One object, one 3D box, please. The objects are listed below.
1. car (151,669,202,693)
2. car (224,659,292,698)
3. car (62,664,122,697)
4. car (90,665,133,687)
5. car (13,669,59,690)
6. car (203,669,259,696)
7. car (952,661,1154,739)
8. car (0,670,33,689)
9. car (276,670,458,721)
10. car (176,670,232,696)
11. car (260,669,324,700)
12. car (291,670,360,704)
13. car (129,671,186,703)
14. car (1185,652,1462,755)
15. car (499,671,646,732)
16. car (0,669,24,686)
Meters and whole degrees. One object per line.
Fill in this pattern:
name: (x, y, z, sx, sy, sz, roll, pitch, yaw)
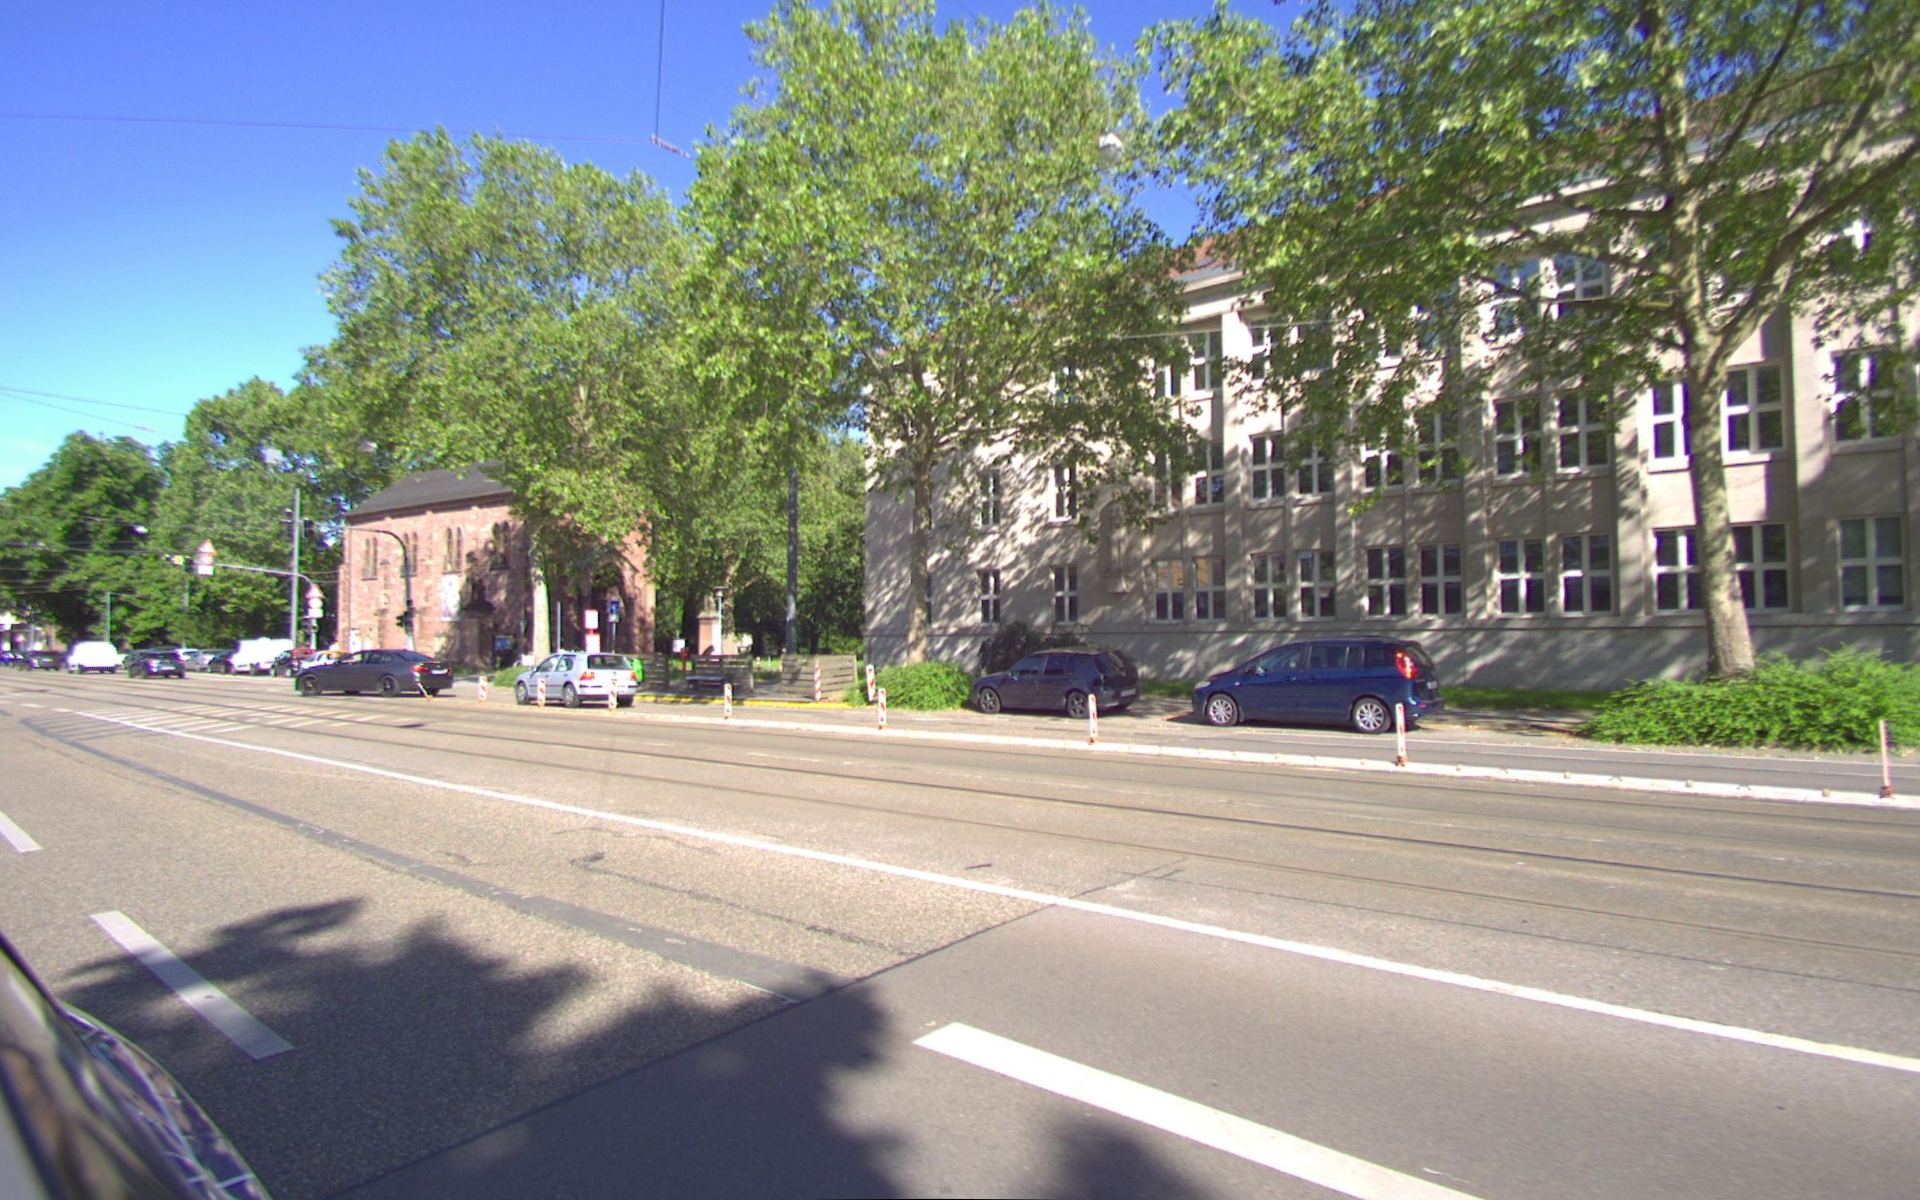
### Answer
car: (-52.346, 5.392, 67.562, 4.303, 1.564, 1.772, -4, -5, 40)
car: (-39.850, 4.440, 57.403, 4.586, 2.113, 1.897, -3, -5, 38)
car: (-52.999, 4.909, 61.758, 4.514, 1.906, 2.039, -4, -7, 41)
car: (-65.106, 5.817, 77.641, 4.303, 1.564, 1.772, -4, -5, 40)
car: (-65.586, 5.611, 71.829, 4.372, 1.440, 1.775, -4, -5, 40)
car: (-43.976, 4.980, 61.034, 3.856, 1.564, 1.772, -3, -5, 39)
car: (1.982, 2.139, 22.256, 4.183, 1.559, 1.656, -3, -4, 38)
car: (-83.483, 7.017, 89.428, 4.303, 1.564, 1.772, -4, -5, 40)
car: (-18.337, 2.929, 31.355, 4.911, 1.464, 1.828, -1, -5, 13)
car: (-47.852, 5.236, 64.028, 4.301, 1.564, 1.773, -3, -5, 38)
car: (-35.897, 4.506, 54.374, 3.856, 1.564, 1.772, -3, -5, 39)
car: (-32.038, 4.363, 51.093, 3.672, 1.586, 1.758, -2, -5, 38)
car: (-41.342, 4.431, 52.094, 4.086, 1.423, 1.599, -2, -2, 41)
car: (6.524, 1.801, 18.430, 4.389, 1.652, 1.812, -3, -4, 38)
car: (-10.131, 2.583, 26.337, 4.168, 1.464, 1.810, -4, -6, 41)
car: (-87.856, 7.128, 93.308, 4.303, 1.564, 1.772, -4, -5, 40)
